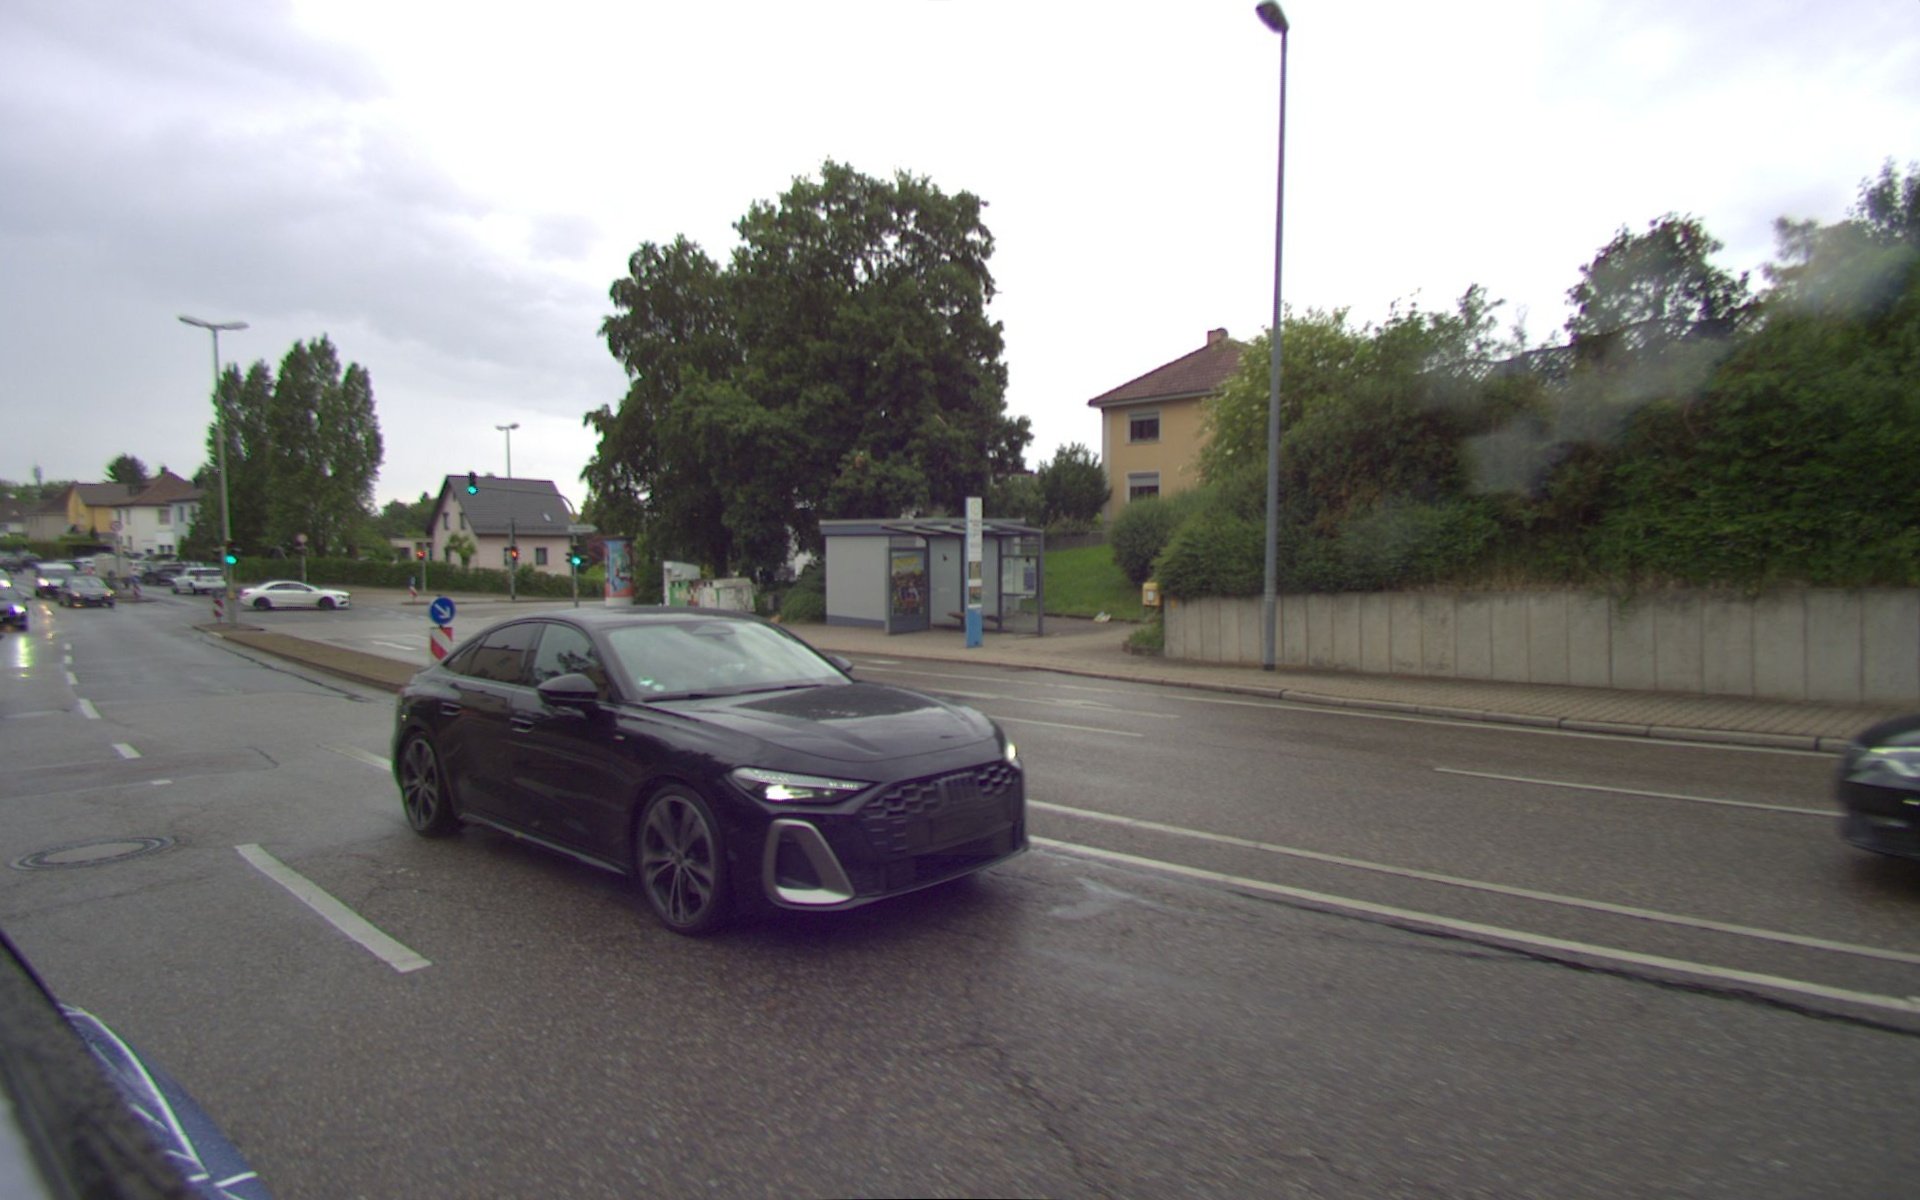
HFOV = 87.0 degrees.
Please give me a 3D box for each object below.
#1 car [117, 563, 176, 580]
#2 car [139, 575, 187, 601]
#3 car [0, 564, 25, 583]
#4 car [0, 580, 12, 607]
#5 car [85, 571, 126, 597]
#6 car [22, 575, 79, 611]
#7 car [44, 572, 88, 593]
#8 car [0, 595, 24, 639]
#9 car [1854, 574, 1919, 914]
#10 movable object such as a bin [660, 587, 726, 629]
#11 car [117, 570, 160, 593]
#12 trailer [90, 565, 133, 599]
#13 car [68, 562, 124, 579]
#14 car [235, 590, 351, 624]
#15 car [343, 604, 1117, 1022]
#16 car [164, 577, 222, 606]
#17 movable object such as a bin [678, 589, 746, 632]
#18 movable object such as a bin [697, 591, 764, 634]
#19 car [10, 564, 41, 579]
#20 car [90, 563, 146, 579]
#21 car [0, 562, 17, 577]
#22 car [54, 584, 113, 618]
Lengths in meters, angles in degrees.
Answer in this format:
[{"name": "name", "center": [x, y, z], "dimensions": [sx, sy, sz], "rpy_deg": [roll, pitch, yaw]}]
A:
[{"name": "car", "center": [-77.135, -2.694, 95.996], "dimensions": [1.882, 1.430, 3.949], "rpy_deg": [3, 5, 38]}, {"name": "car", "center": [-58.378, -0.887, 74.076], "dimensions": [4.594, 1.682, 1.787], "rpy_deg": [4, 3, 39]}, {"name": "car", "center": [-85.513, -2.407, 90.921], "dimensions": [4.001, 1.585, 1.972], "rpy_deg": [4, 3, 43]}, {"name": "car", "center": [-55.767, -0.388, 57.703], "dimensions": [3.992, 1.492, 1.819], "rpy_deg": [1, 1, 36]}, {"name": "car", "center": [-60.579, -1.133, 71.714], "dimensions": [1.877, 1.695, 4.483], "rpy_deg": [-1, 3, -44]}, {"name": "car", "center": [-51.611, -0.419, 57.378], "dimensions": [4.746, 1.885, 1.930], "rpy_deg": [3, 2, 42]}, {"name": "car", "center": [-68.838, -1.349, 77.907], "dimensions": [4.378, 1.563, 1.824], "rpy_deg": [2, 2, 38]}, {"name": "car", "center": [-33.927, 0.629, 35.338], "dimensions": [1.814, 1.468, 4.004], "rpy_deg": [-1, -1, -43]}, {"name": "car", "center": [6.260, 0.625, 3.881], "dimensions": [4.233, 1.498, 1.872], "rpy_deg": [0, 0, 42]}, {"name": "movable object such as a bin", "center": [-10.447, 0.284, 39.614], "dimensions": [2.032, 1.580, 1.584], "rpy_deg": [-1, 0, -40]}, {"name": "car", "center": [-63.492, -1.466, 78.177], "dimensions": [4.139, 1.580, 1.787], "rpy_deg": [4, 3, 39]}, {"name": "trailer", "center": [-57.578, -1.231, 68.651], "dimensions": [1.874, 2.195, 4.039], "rpy_deg": [-1, 2, -44]}, {"name": "car", "center": [-89.926, -3.043, 105.359], "dimensions": [1.834, 1.495, 4.068], "rpy_deg": [2, -2, 31]}, {"name": "car", "center": [-32.869, 0.336, 50.061], "dimensions": [4.571, 1.539, 1.921], "rpy_deg": [0, 2, -25]}, {"name": "car", "center": [-1.663, 0.767, 5.902], "dimensions": [4.854, 1.408, 1.886], "rpy_deg": [0, 1, 41]}, {"name": "car", "center": [-47.978, -0.545, 63.313], "dimensions": [4.460, 1.669, 1.806], "rpy_deg": [2, 2, 38]}, {"name": "movable object such as a bin", "center": [-9.403, 0.369, 38.401], "dimensions": [2.032, 1.580, 1.584], "rpy_deg": [-1, 0, -40]}, {"name": "movable object such as a bin", "center": [-8.446, 0.430, 37.275], "dimensions": [2.032, 1.526, 1.346], "rpy_deg": [-1, 0, -40]}, {"name": "car", "center": [-95.789, -2.960, 103.704], "dimensions": [3.996, 1.426, 1.787], "rpy_deg": [3, 2, 39]}, {"name": "car", "center": [-85.046, -2.961, 102.233], "dimensions": [1.882, 1.430, 4.060], "rpy_deg": [3, 4, 38]}, {"name": "car", "center": [-104.804, -3.375, 110.583], "dimensions": [3.992, 1.525, 1.789], "rpy_deg": [3, 2, 36]}, {"name": "car", "center": [-43.796, 0.005, 50.541], "dimensions": [4.059, 1.498, 1.815], "rpy_deg": [3, 3, 43]}]
